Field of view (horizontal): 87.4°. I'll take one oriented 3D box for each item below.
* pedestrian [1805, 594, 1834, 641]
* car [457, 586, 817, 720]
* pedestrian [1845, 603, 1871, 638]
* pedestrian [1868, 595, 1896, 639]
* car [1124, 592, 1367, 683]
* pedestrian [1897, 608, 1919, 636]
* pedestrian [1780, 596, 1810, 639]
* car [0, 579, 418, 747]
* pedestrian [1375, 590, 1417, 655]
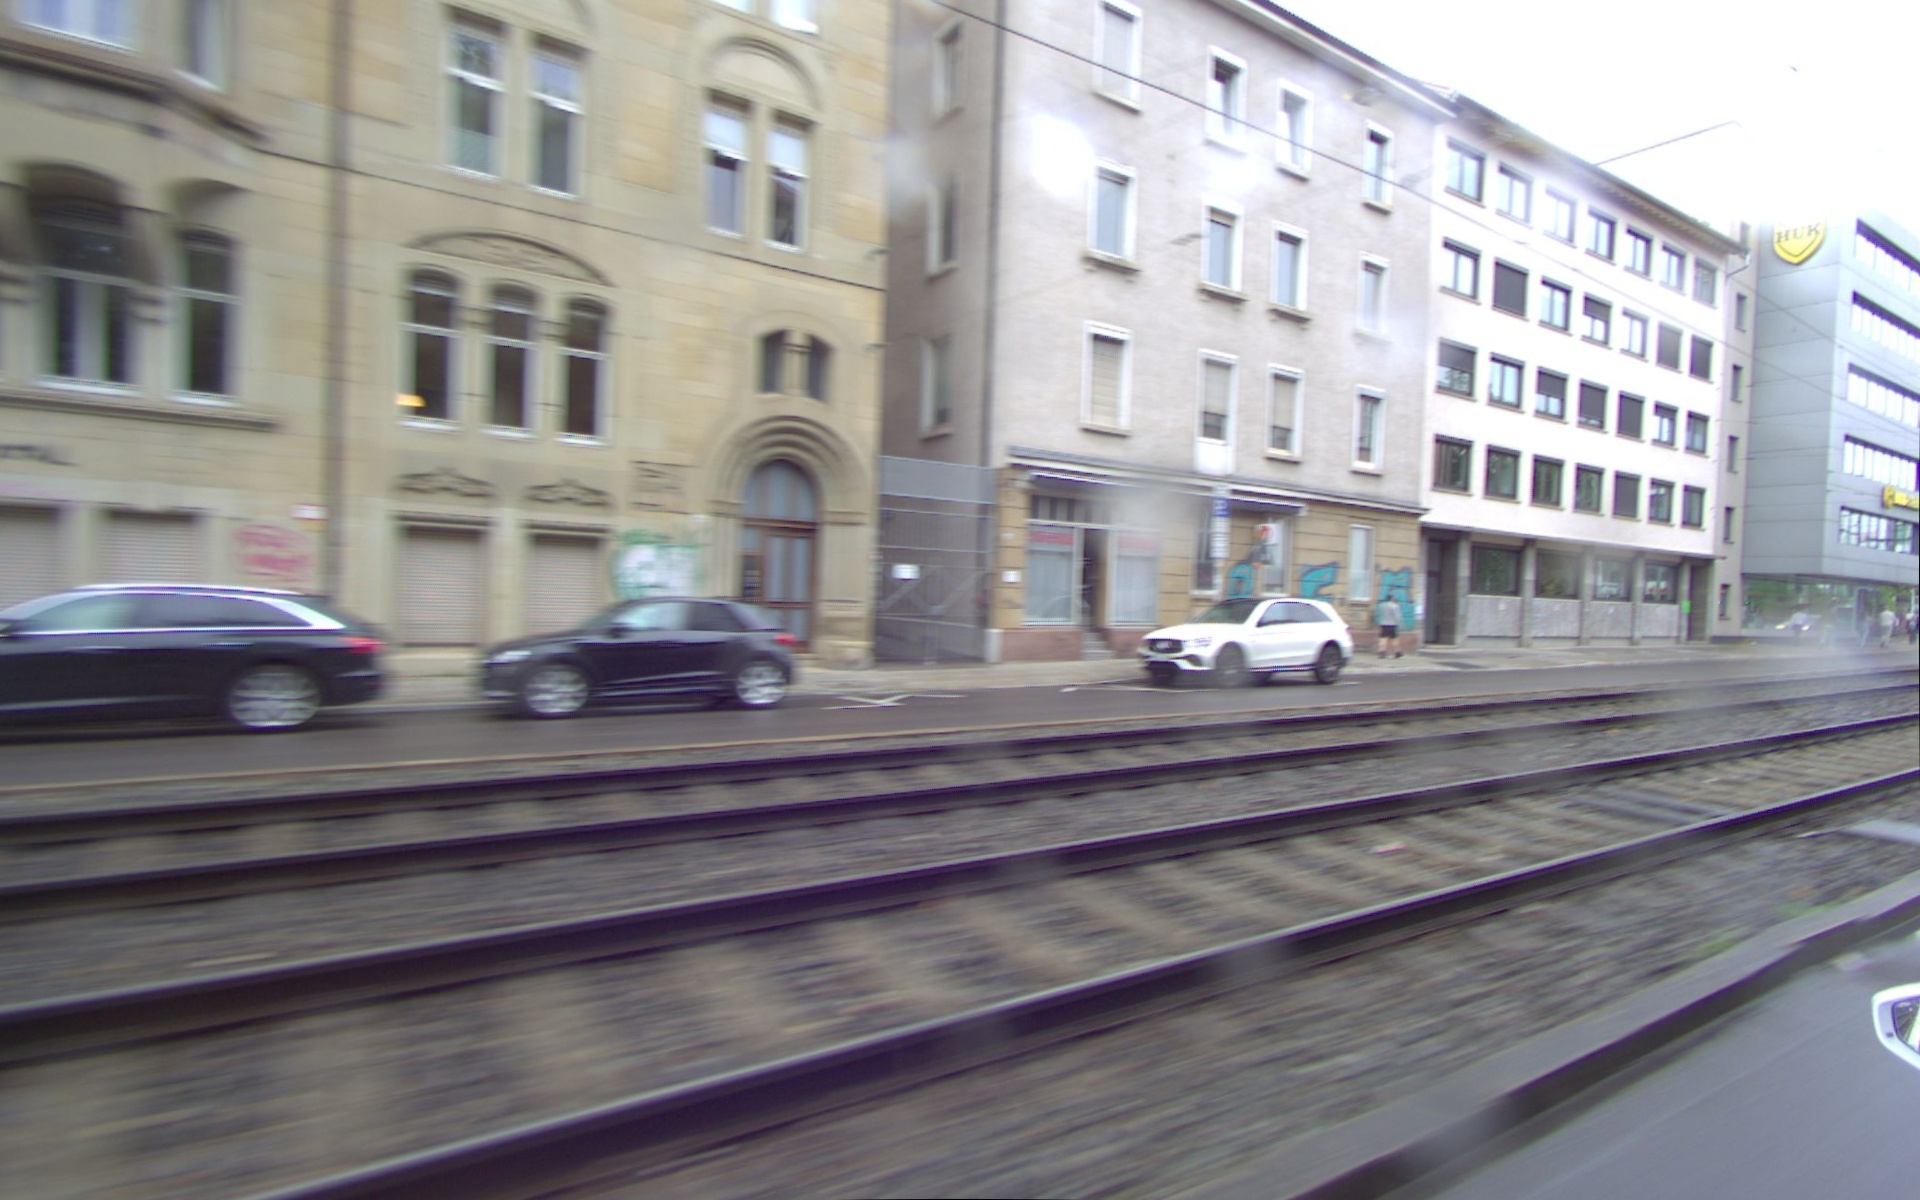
[{"bbox_3d":[37.769,0.769,44.122,0.802,2.041,0.657,1,3,-33],"label":"pedestrian"},{"bbox_3d":[-4.076,0.645,12.942,4.127,1.475,1.726,1,-2,-34],"label":"car"},{"bbox_3d":[42.944,0.986,48.044,0.625,1.615,0.587,2,2,-16],"label":"pedestrian"},{"bbox_3d":[43.534,0.792,47.425,0.650,2.041,0.617,4,2,19],"label":"pedestrian"},{"bbox_3d":[5.568,0.710,19.396,4.699,1.556,1.982,1,-2,-34],"label":"car"},{"bbox_3d":[57.479,1.313,60.746,0.949,1.615,0.588,4,3,30],"label":"pedestrian"},{"bbox_3d":[37.243,0.770,44.799,0.963,1.840,0.657,1,3,-33],"label":"pedestrian"},{"bbox_3d":[-8.331,0.594,10.061,4.969,1.475,1.982,1,-2,-34],"label":"car"},{"bbox_3d":[11.334,0.578,26.140,0.789,1.634,0.544,1,4,-31],"label":"pedestrian"}]
